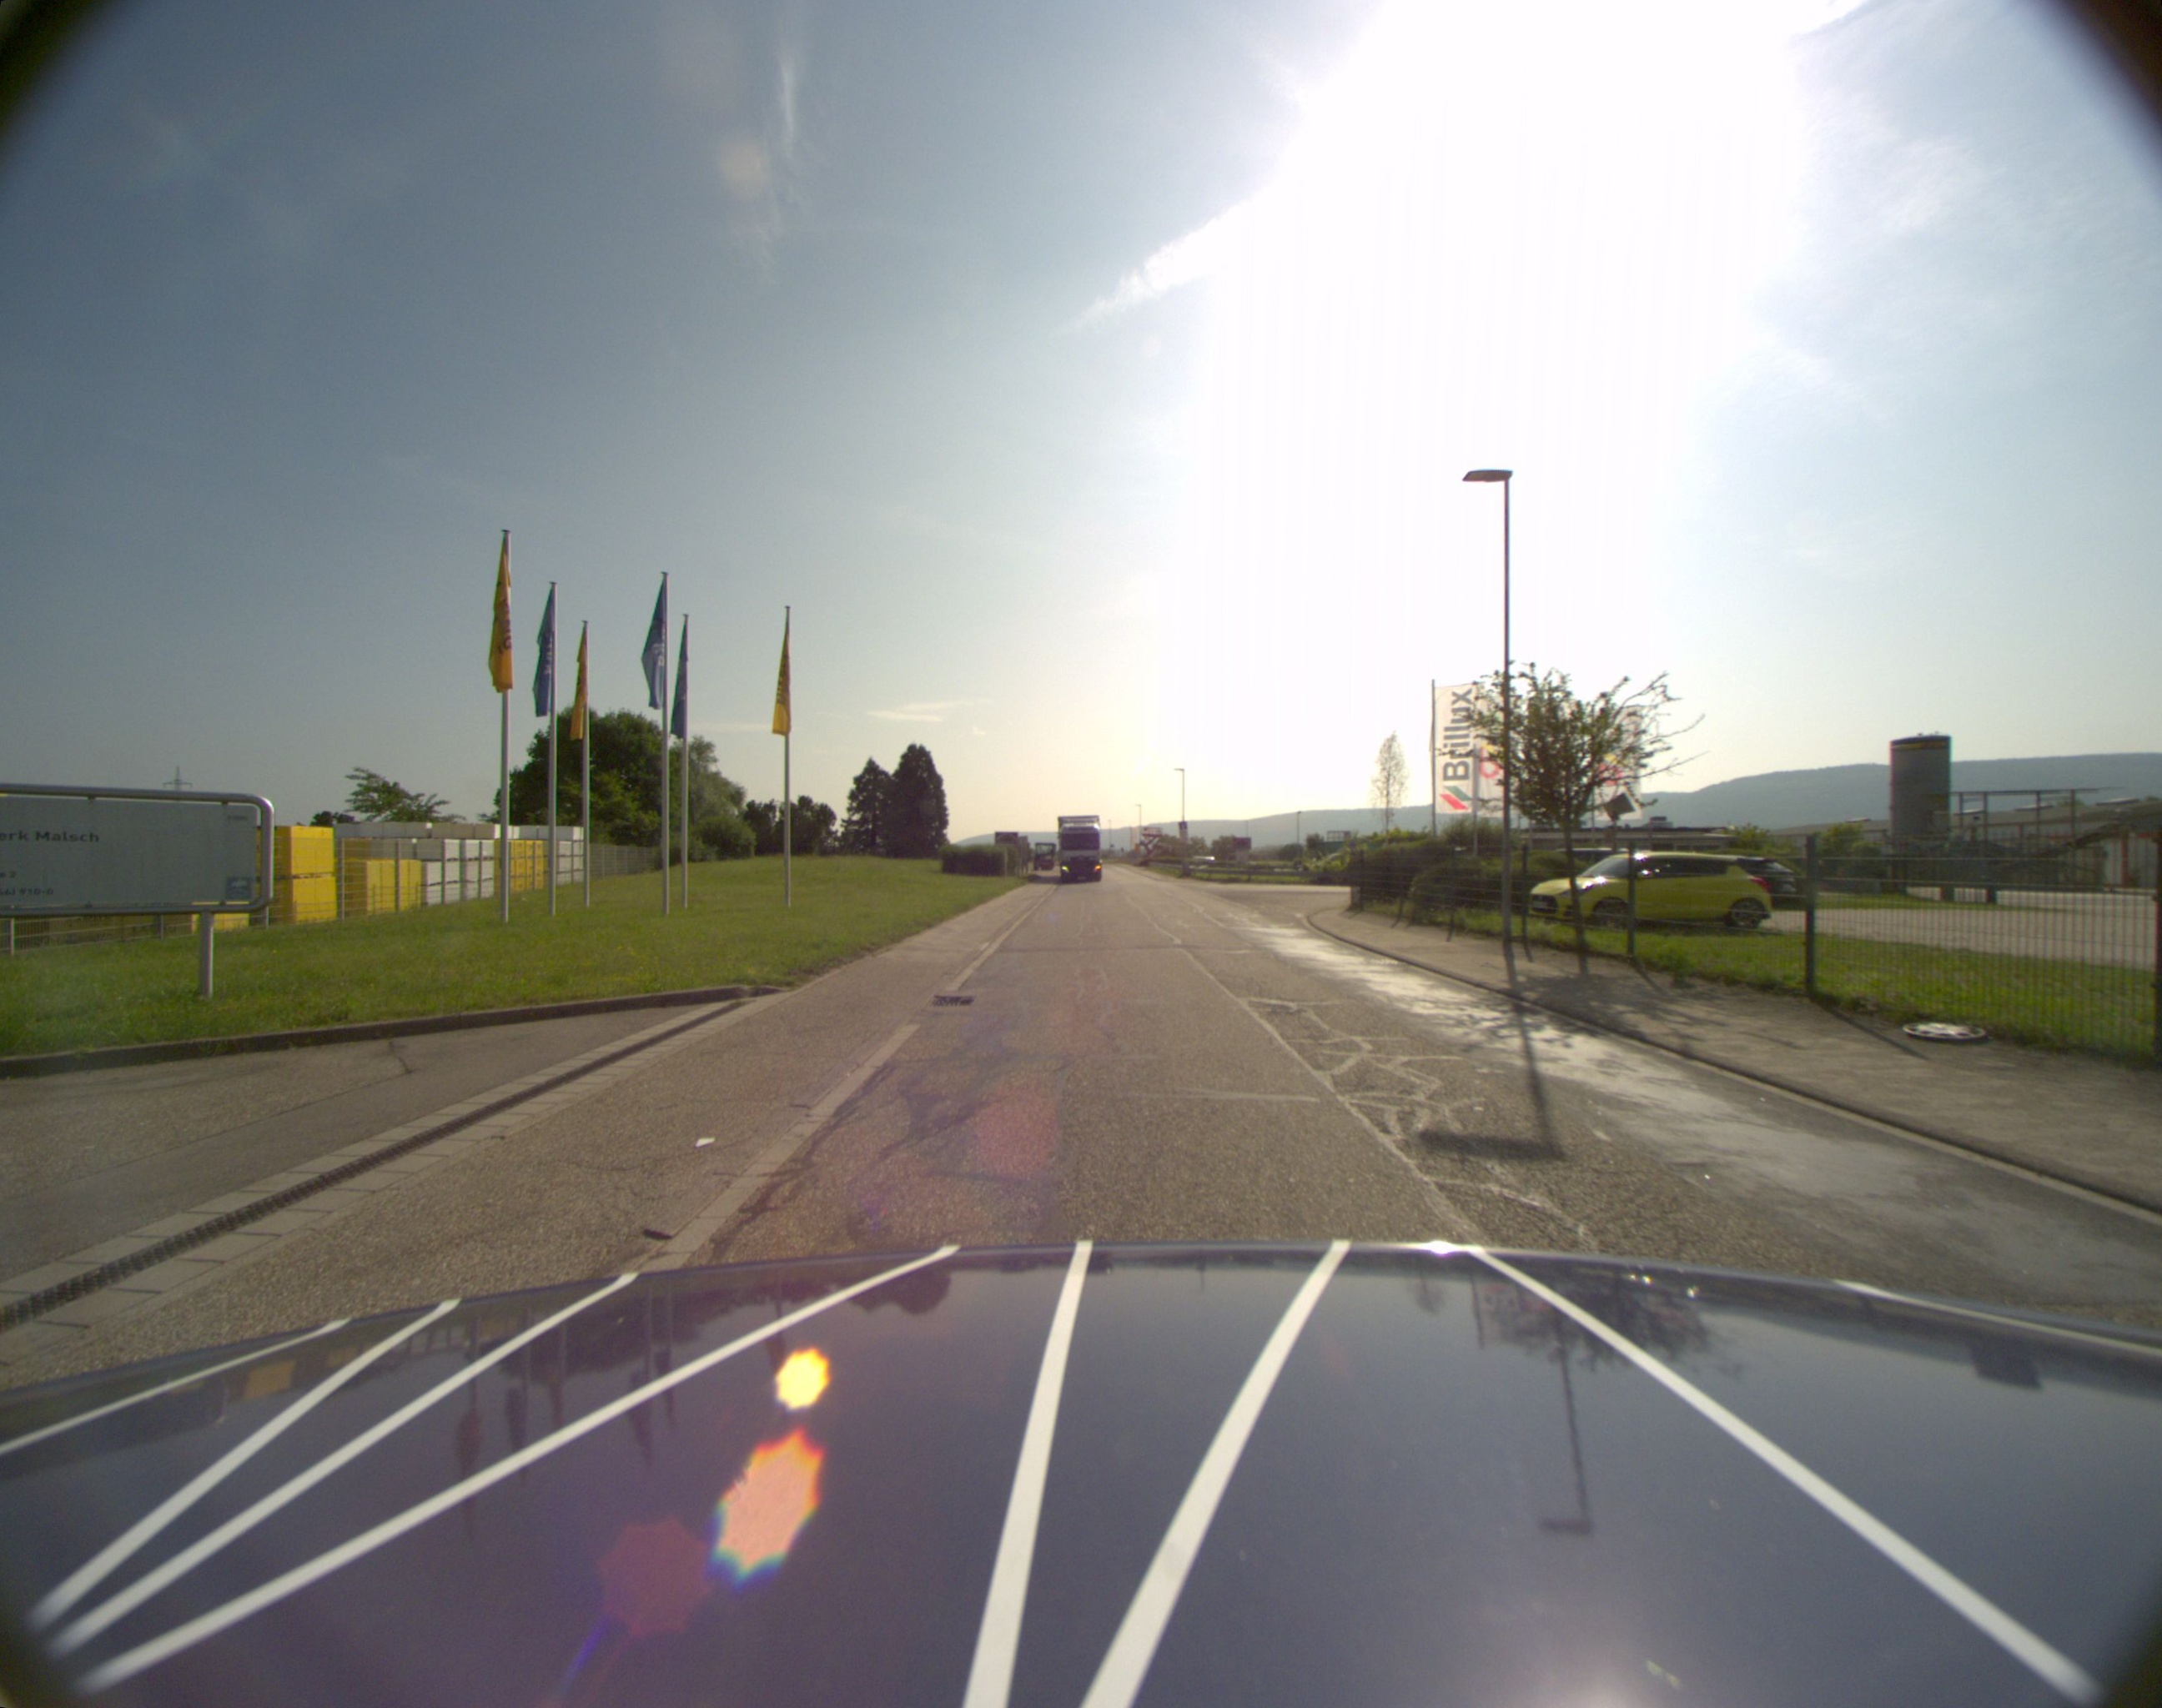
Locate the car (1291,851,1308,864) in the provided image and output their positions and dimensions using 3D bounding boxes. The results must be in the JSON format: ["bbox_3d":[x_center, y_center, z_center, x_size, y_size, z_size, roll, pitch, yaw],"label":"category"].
[{"bbox_3d":[34.476,0.565,119.894,1.997,2.002,4.160,1,0,9],"label":"car"}]

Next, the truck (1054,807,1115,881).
[{"bbox_3d":[0.248,-0.624,47.325,3.395,4.183,6.097,-2,1,1],"label":"truck"}]

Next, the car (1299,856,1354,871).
[{"bbox_3d":[22.177,0.837,68.680,4.686,1.212,1.834,1,-1,19],"label":"car"}]

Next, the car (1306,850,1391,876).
[{"bbox_3d":[18.562,0.617,52.971,5.272,1.696,2.001,1,0,7],"label":"car"}]

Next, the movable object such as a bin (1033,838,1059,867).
[{"bbox_3d":[-3.913,-0.146,83.280,2.436,2.994,5.750,1,0,-7],"label":"movable object such as a bin"}]

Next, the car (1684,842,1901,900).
[{"bbox_3d":[22.736,0.499,24.570,4.654,1.742,2.155,0,0,22],"label":"car"}]

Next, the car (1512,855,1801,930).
[{"bbox_3d":[11.008,0.700,14.778,4.174,1.360,1.868,0,0,1],"label":"car"}]

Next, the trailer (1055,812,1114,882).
[{"bbox_3d":[0.313,-0.553,53.823,3.497,4.183,14.231,-2,1,1],"label":"trailer"}]

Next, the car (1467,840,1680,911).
[{"bbox_3d":[13.416,0.535,20.956,1.961,1.686,4.499,-3,1,-35],"label":"car"}]

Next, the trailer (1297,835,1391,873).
[{"bbox_3d":[19.369,-0.035,56.399,6.315,2.590,2.857,1,1,14],"label":"trailer"}]
